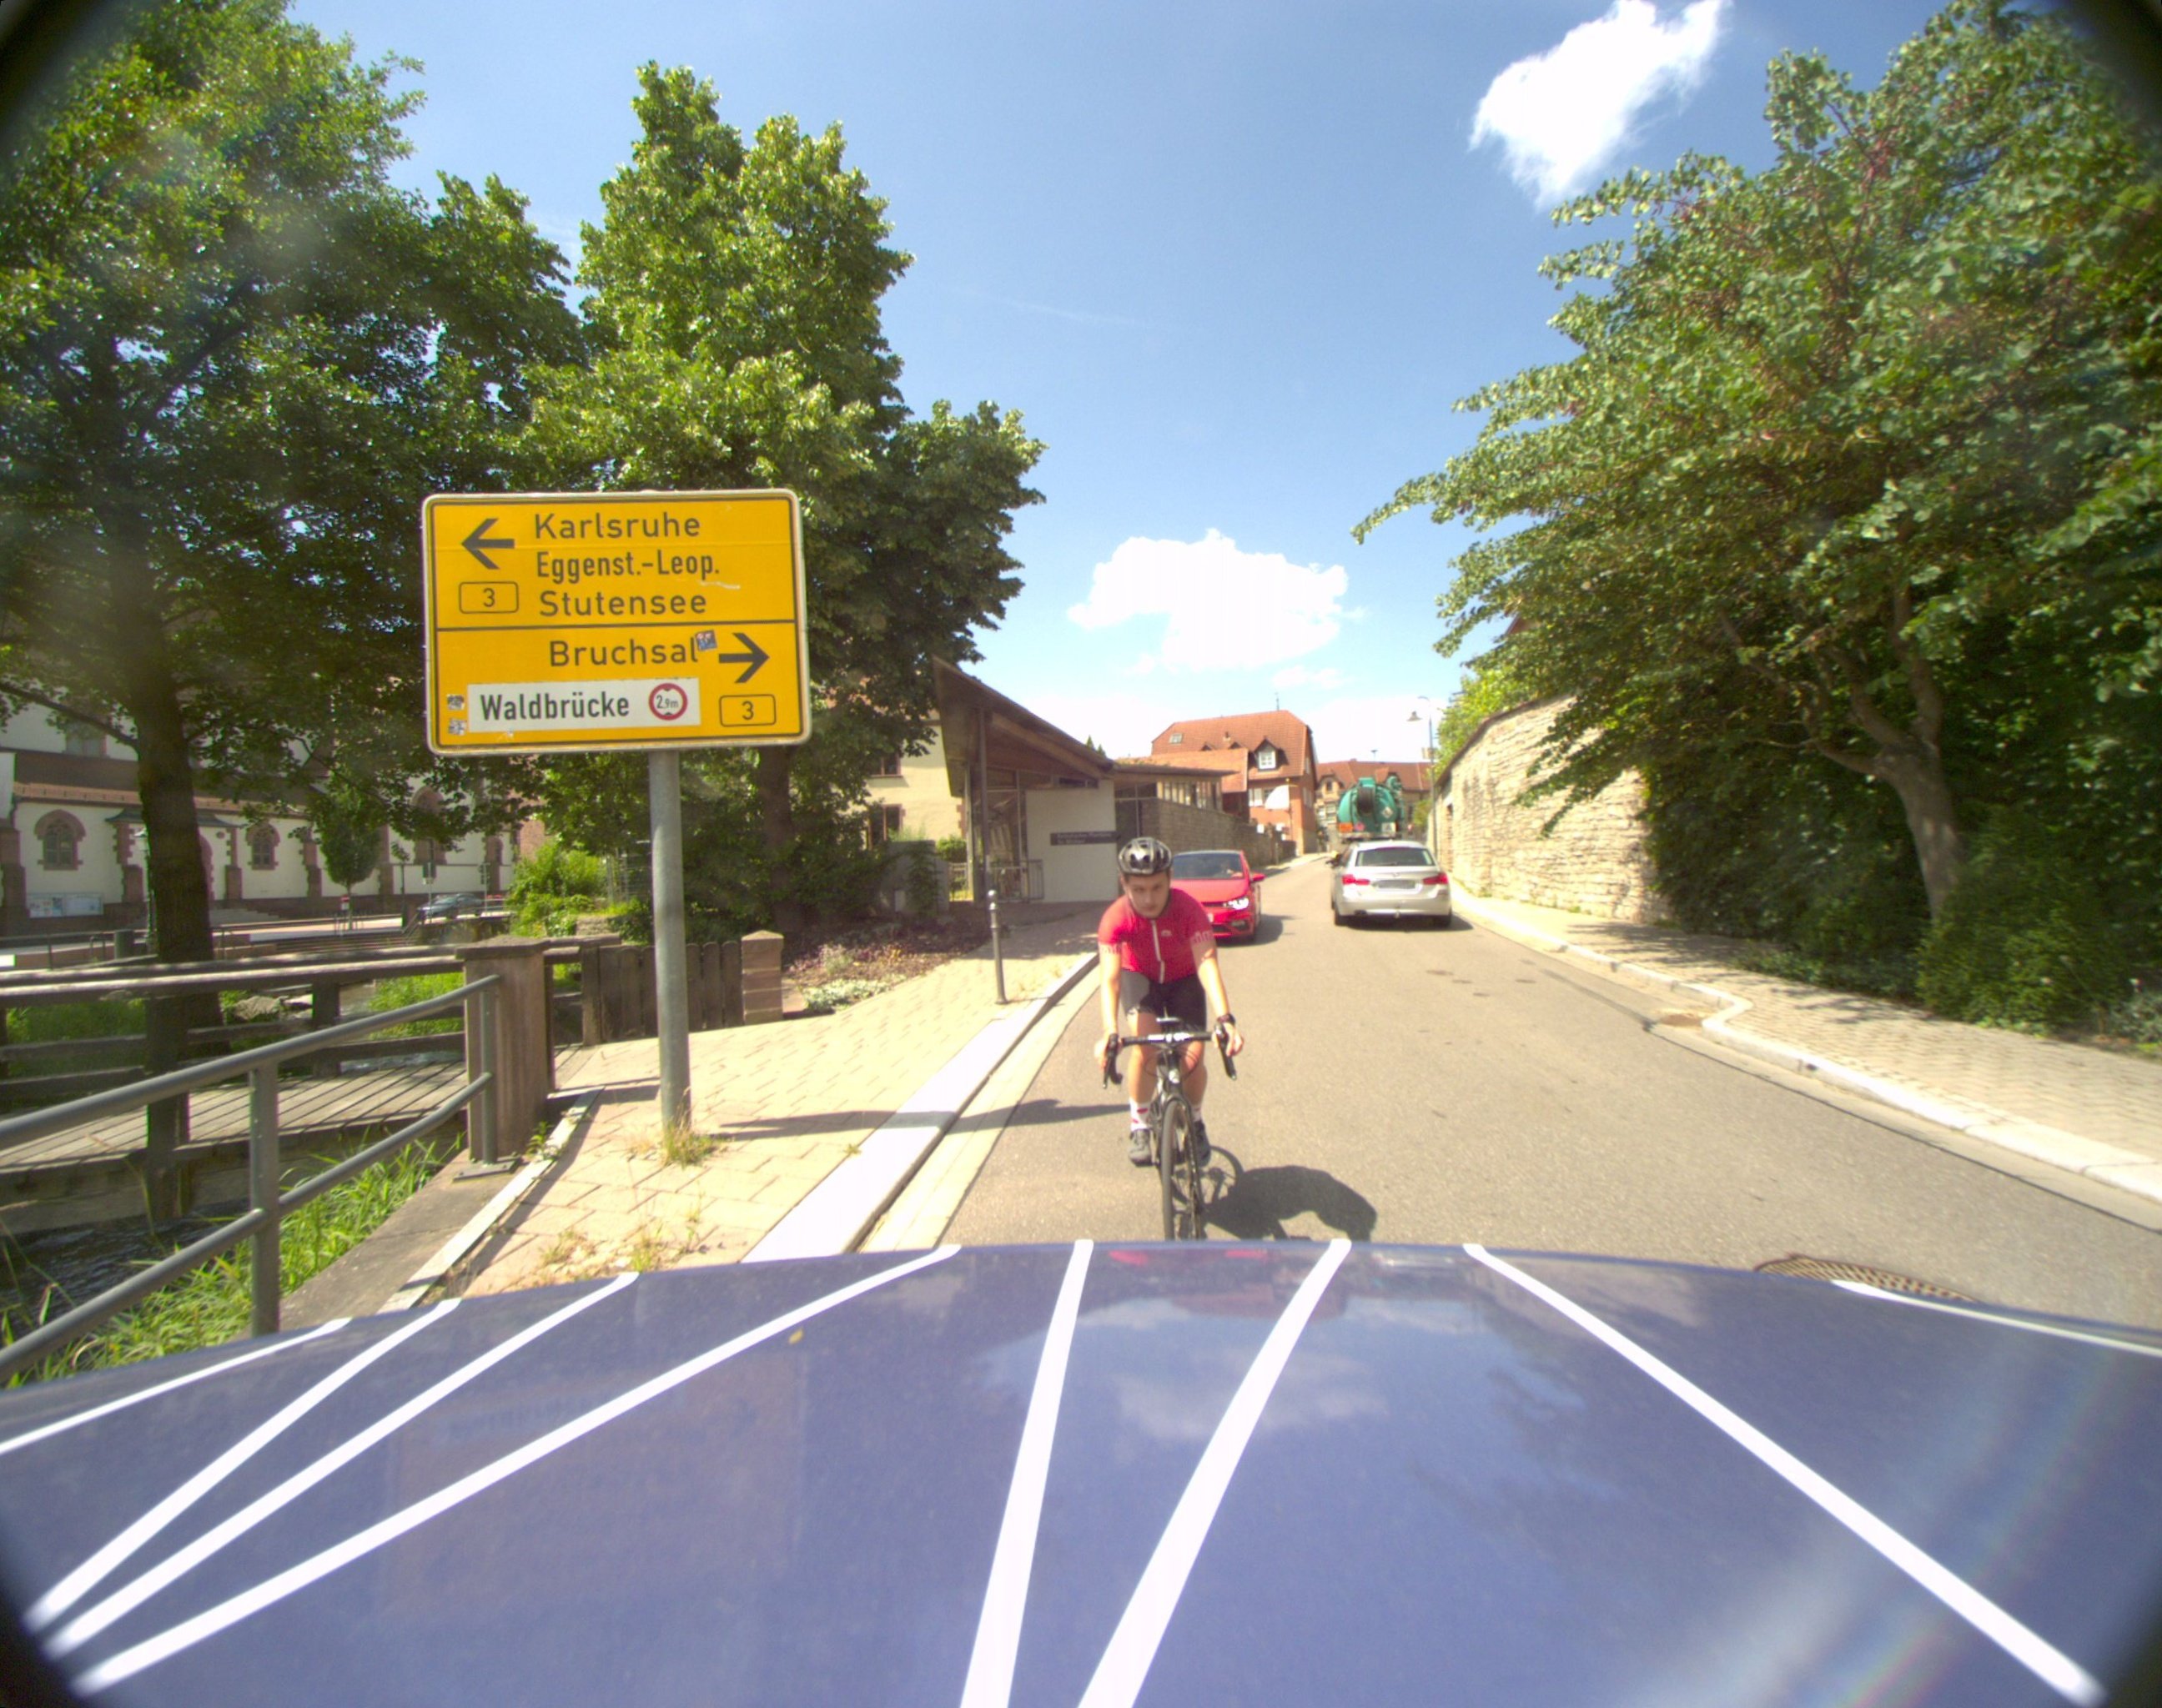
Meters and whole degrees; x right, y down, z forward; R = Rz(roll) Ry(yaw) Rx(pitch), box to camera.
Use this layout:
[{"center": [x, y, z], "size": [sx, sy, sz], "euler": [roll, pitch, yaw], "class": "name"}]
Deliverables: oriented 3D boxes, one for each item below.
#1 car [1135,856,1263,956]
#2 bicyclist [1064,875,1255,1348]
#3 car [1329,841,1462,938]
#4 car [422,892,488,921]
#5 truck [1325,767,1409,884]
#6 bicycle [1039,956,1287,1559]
[{"center": [2.076, 0.753, 12.537], "size": [1.667, 1.344, 3.498], "euler": [-2, 0, 15], "class": "car"}, {"center": [0.262, 0.795, 2.668], "size": [0.532, 1.396, 0.755], "euler": [-2, 1, 4], "class": "bicyclist"}, {"center": [5.689, 0.558, 14.115], "size": [1.897, 1.491, 4.620], "euler": [-2, 0, 20], "class": "car"}, {"center": [-37.477, 3.104, 45.583], "size": [1.671, 1.495, 3.805], "euler": [-3, 0, -18], "class": "car"}, {"center": [10.878, -1.054, 28.358], "size": [2.414, 3.638, 9.579], "euler": [-1, 2, 23], "class": "truck"}, {"center": [0.256, 1.060, 2.754], "size": [0.531, 1.070, 2.054], "euler": [-2, 1, 4], "class": "bicycle"}]
